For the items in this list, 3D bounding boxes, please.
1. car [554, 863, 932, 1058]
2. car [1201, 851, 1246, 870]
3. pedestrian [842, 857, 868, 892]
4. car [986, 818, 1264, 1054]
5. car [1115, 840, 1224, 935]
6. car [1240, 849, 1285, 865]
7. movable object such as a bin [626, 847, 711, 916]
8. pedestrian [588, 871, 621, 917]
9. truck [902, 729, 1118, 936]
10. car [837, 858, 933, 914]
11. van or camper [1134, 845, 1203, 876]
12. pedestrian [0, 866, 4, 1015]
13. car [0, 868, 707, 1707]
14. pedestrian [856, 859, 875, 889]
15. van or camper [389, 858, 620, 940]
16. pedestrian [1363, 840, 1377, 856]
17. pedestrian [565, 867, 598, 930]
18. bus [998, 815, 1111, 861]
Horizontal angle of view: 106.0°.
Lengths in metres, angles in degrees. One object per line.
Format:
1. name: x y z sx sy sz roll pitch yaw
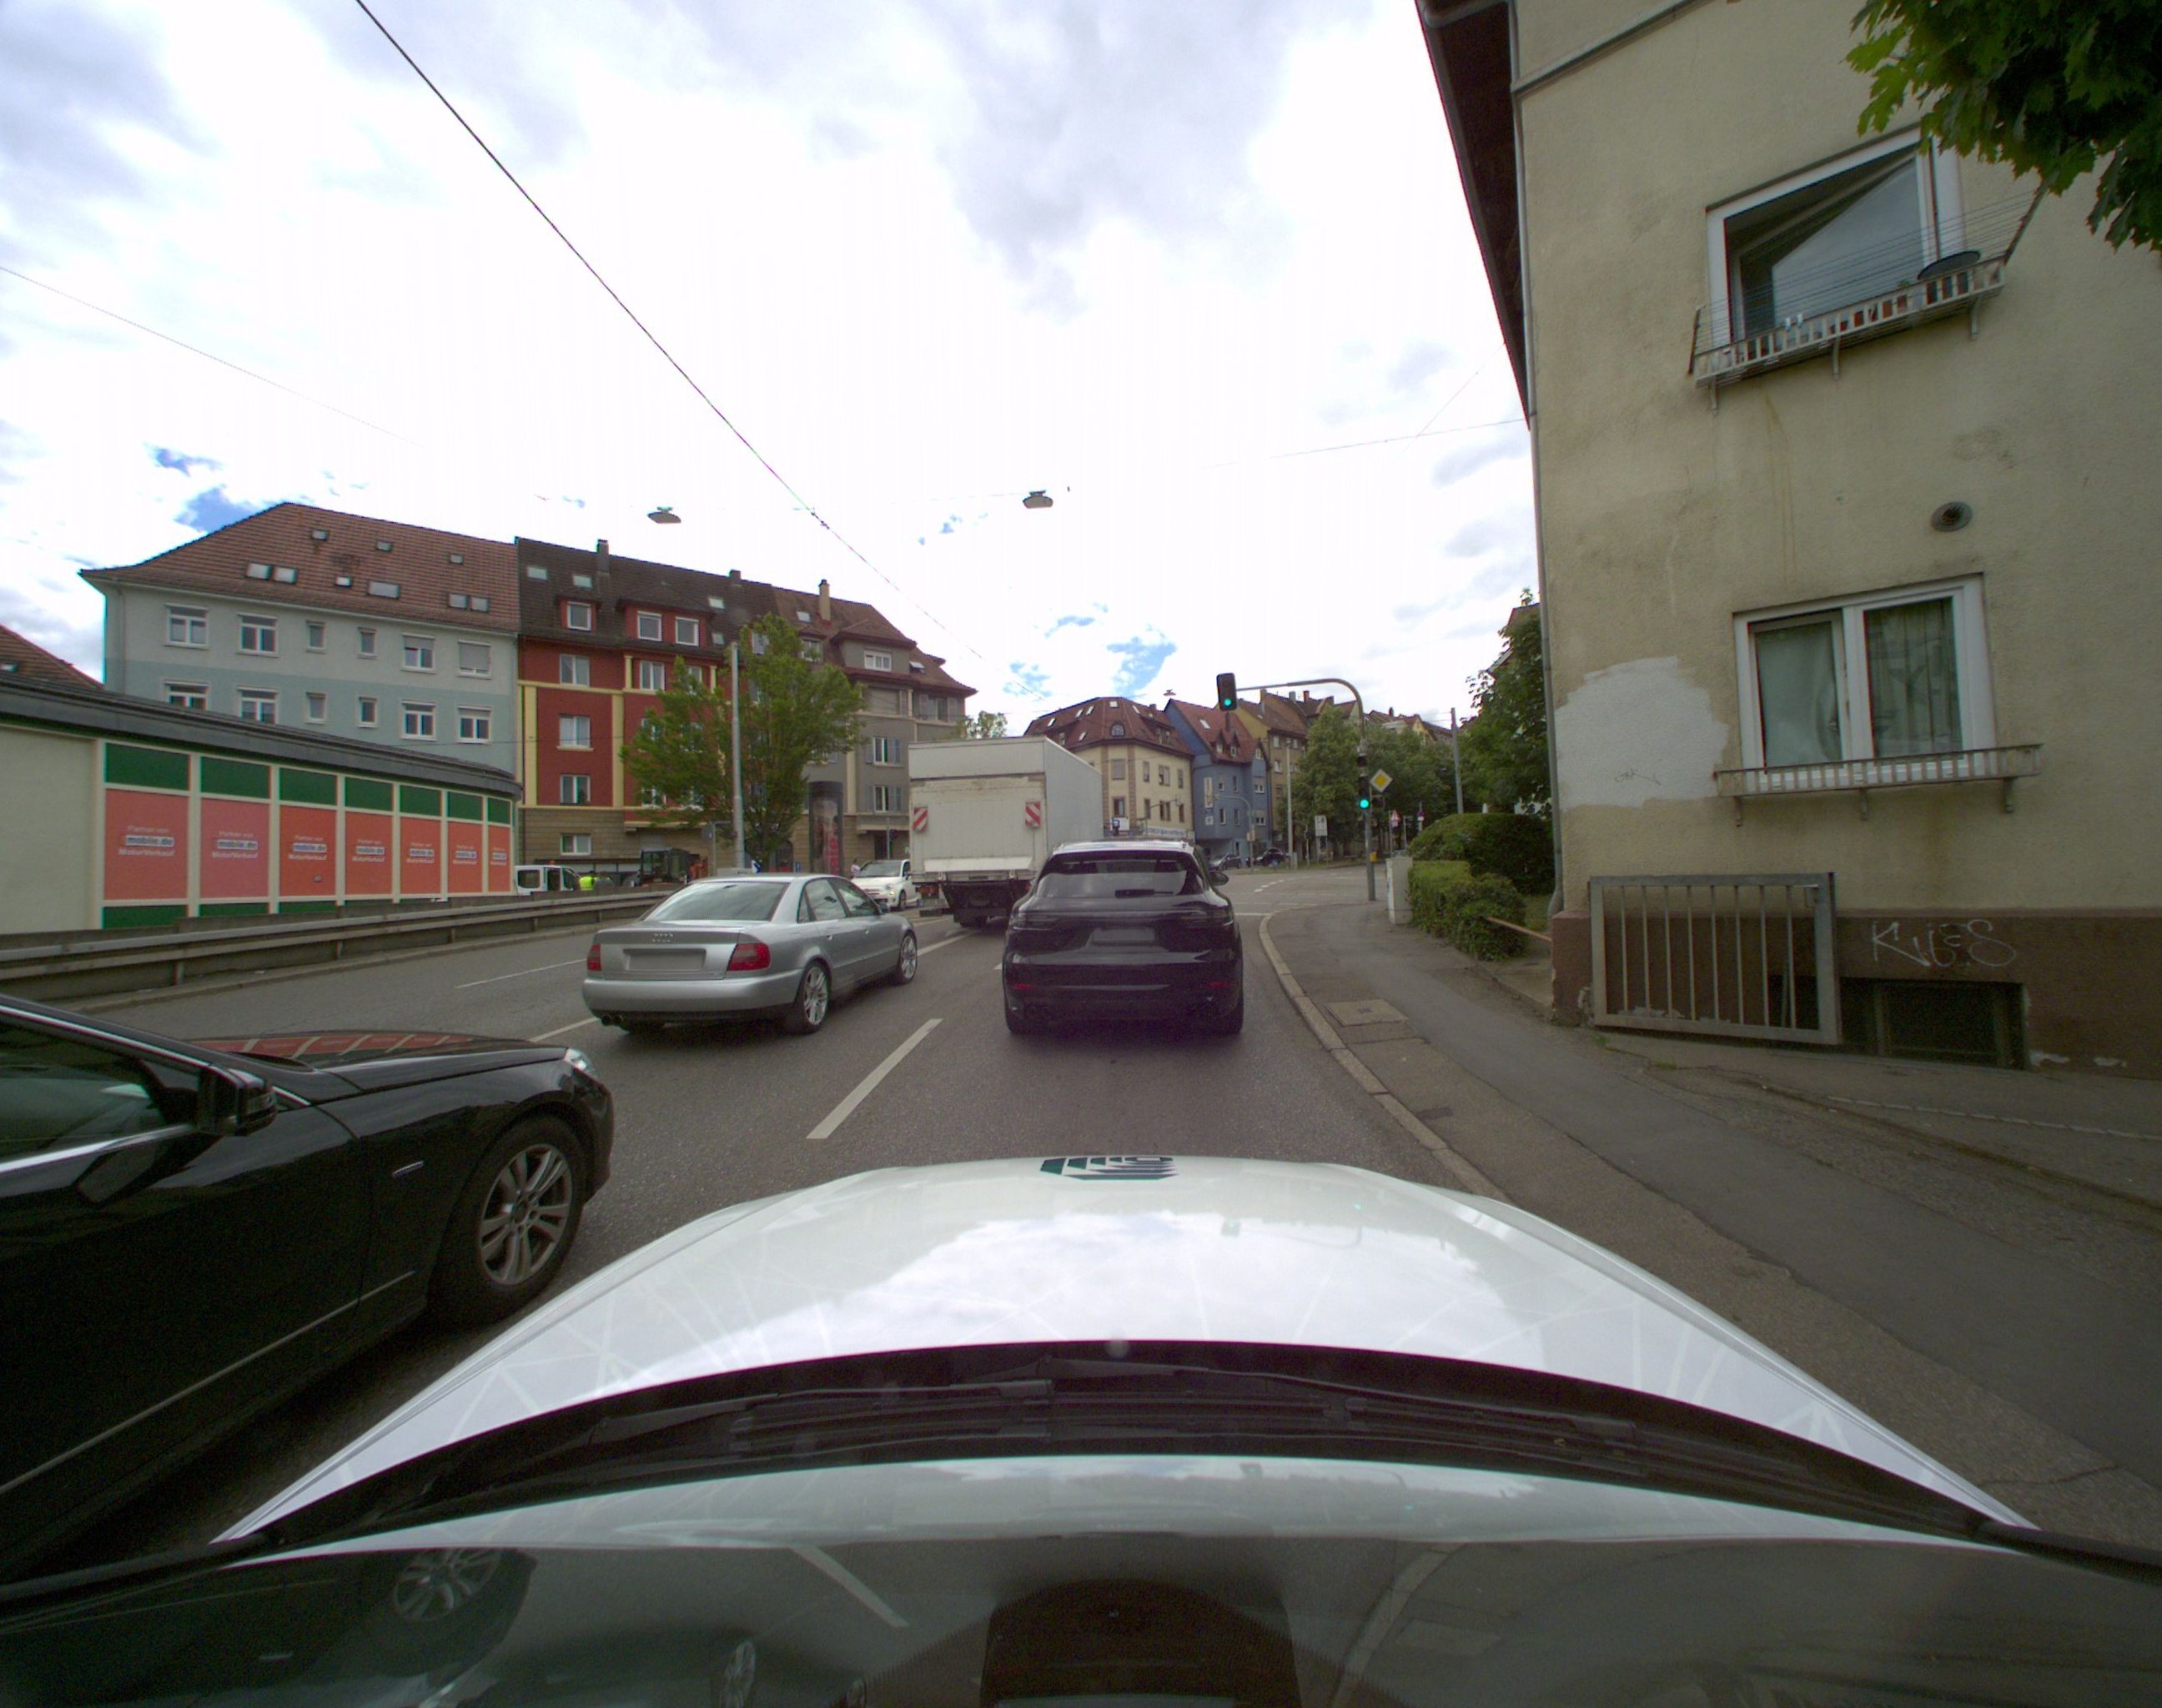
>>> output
1. car: -2.946 0.834 8.185 1.620 1.365 4.136 -2 0 7
2. car: 12.448 0.564 70.969 1.700 1.476 4.244 -4 -2 44
3. pedestrian: -10.159 0.925 36.582 0.785 1.546 0.743 -1 0 29
4. car: 0.395 0.584 8.214 2.024 1.723 4.502 0 0 2
5. car: 1.757 0.562 15.211 1.638 1.556 3.595 -1 -1 12
6. car: 17.011 0.284 76.057 1.852 1.416 4.726 -3 -2 44
7. movable object such as a bin: -13.146 0.839 26.160 1.375 2.013 3.524 -2 0 -10
8. pedestrian: -14.590 1.223 24.932 0.594 1.363 0.630 -2 0 35
9. truck: -1.087 -0.377 18.366 2.708 3.544 8.445 0 0 10
10. car: -5.624 0.869 23.759 1.590 1.447 3.535 -3 0 5
11. van or camper: 5.913 0.458 55.644 2.008 2.014 4.778 0 -1 -35
12. pedestrian: -12.176 0.956 8.536 0.686 1.637 0.778 -1 0 -3
13. car: -2.857 0.803 1.454 1.986 1.429 4.844 -1 0 2
14. pedestrian: -9.880 0.933 37.370 0.569 1.338 0.587 -2 0 27
15. van or camper: -18.987 1.382 27.270 6.028 2.338 2.661 -1 0 -33
16. pedestrian: 35.186 -0.725 99.157 1.181 2.013 0.995 -1 0 42
17. pedestrian: -16.441 1.440 26.801 0.830 2.013 0.672 -1 0 -37
18. bus: -2.463 -1.203 67.486 3.181 3.096 12.019 -2 -1 -35
